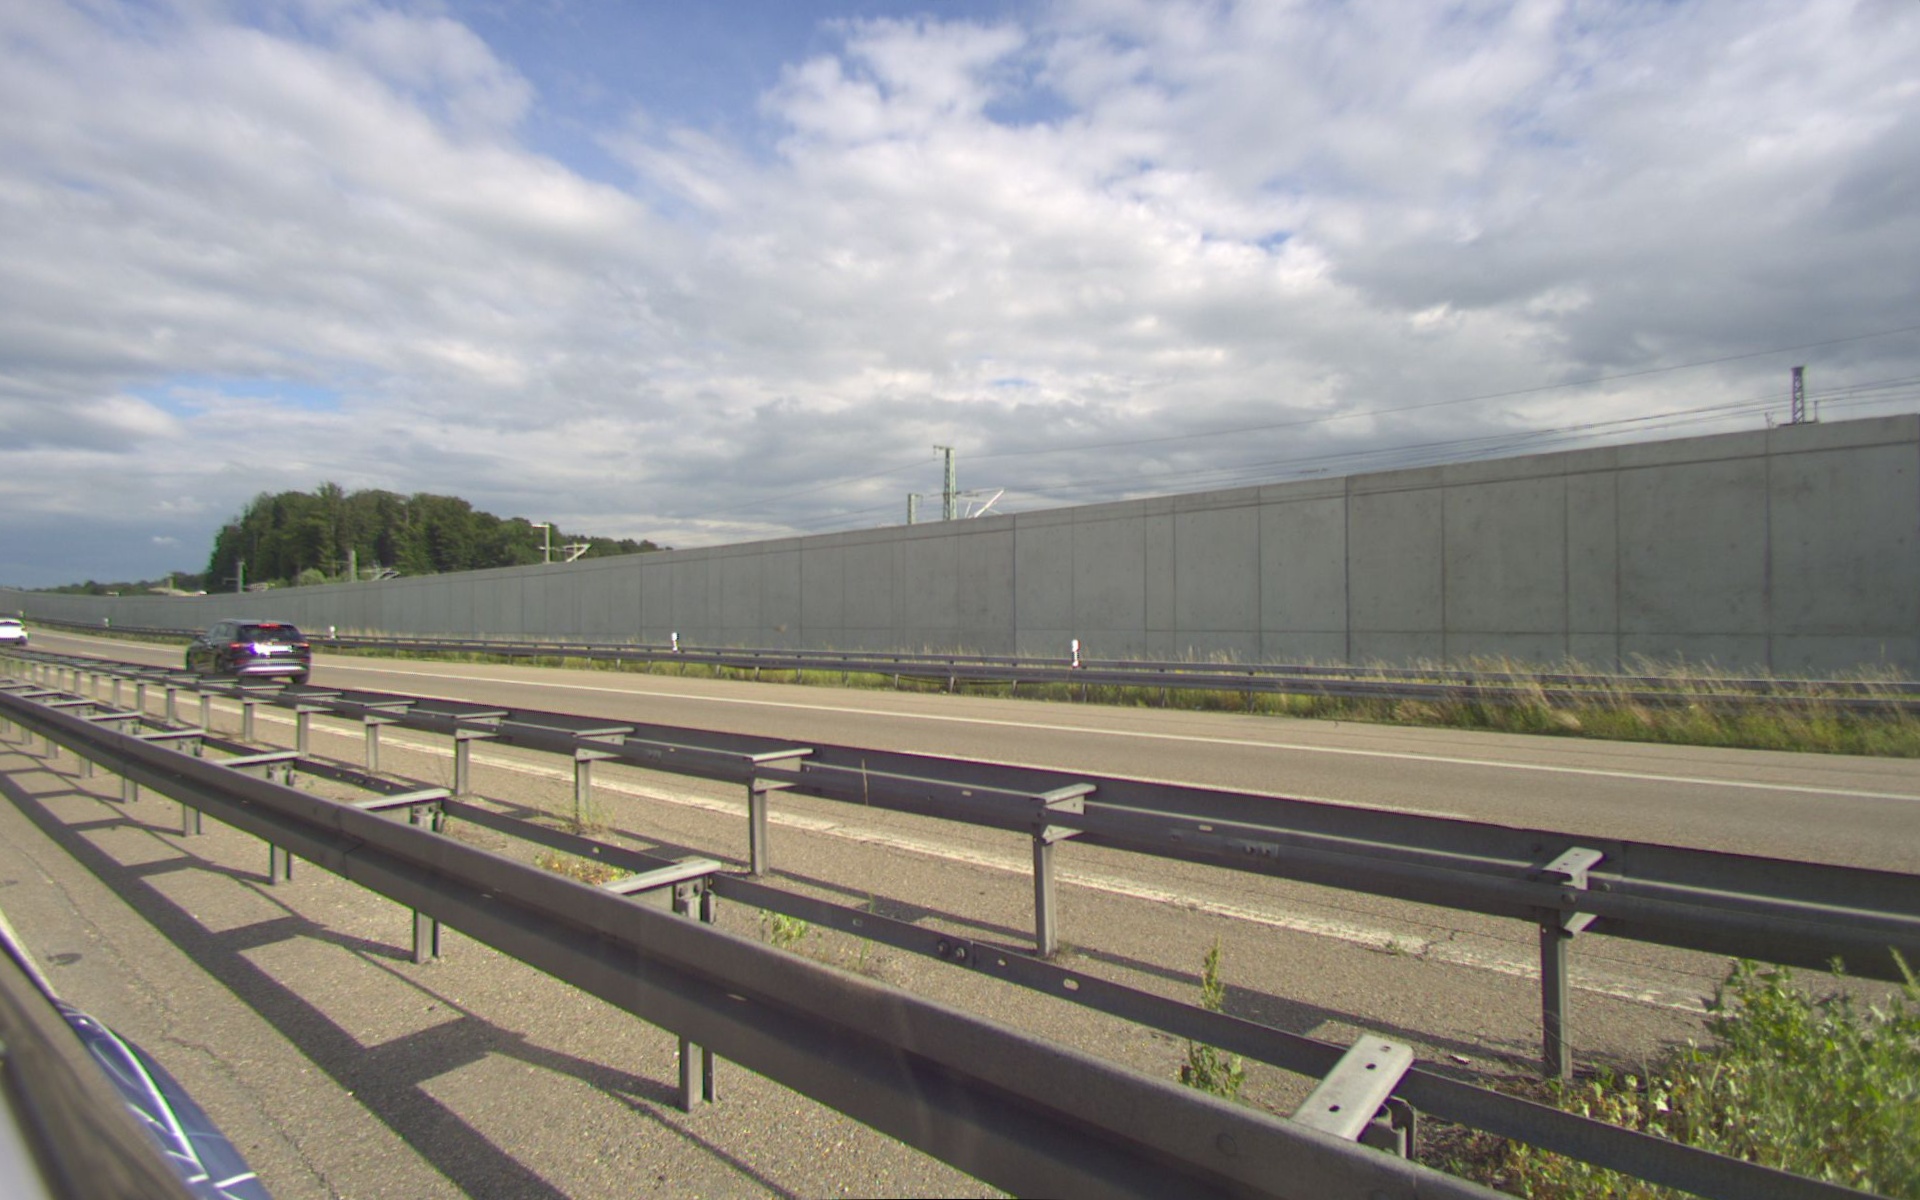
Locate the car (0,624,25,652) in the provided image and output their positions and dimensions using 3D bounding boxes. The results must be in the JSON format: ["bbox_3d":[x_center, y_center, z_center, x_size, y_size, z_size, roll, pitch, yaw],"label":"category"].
[{"bbox_3d":[-53.183,2.104,55.910,4.446,1.474,1.699,-2,-2,40],"label":"car"}]

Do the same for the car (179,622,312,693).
[{"bbox_3d":[-17.771,1.360,25.103,4.447,1.607,1.698,-2,-2,41],"label":"car"}]
